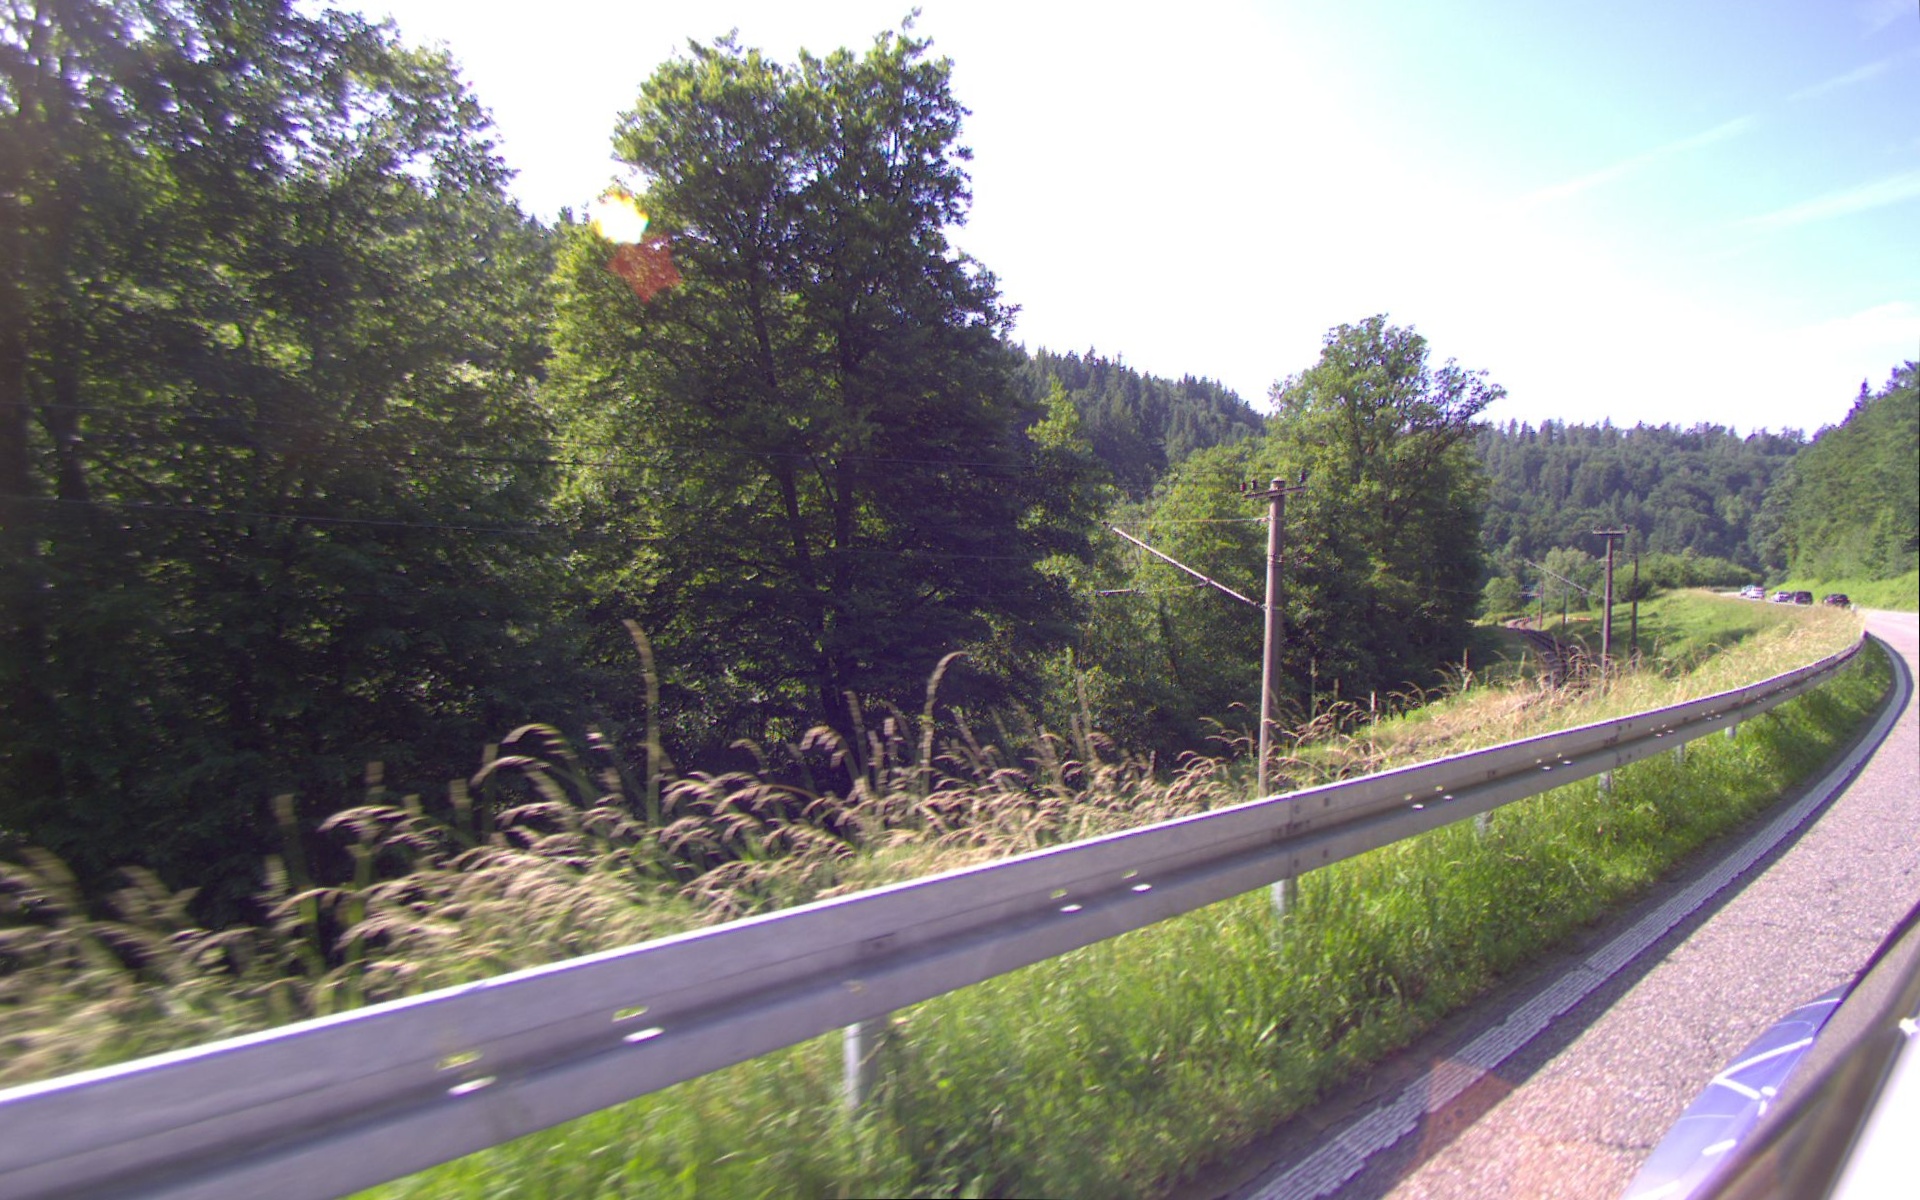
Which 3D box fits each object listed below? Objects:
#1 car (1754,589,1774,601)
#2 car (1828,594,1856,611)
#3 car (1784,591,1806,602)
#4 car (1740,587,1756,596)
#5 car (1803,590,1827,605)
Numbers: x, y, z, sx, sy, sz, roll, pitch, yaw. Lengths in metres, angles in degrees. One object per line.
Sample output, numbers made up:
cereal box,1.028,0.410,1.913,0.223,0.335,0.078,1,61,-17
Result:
car,118.850,-0.708,149.650,1.987,1.703,4.845,2,2,35
car,85.429,0.247,98.042,1.855,1.548,3.943,1,1,40
car,104.574,-0.426,126.817,1.828,1.449,4.618,0,0,36
car,137.604,-1.499,176.823,1.861,1.644,4.420,1,1,33
car,96.886,-0.284,114.712,1.828,1.649,4.294,1,1,37
